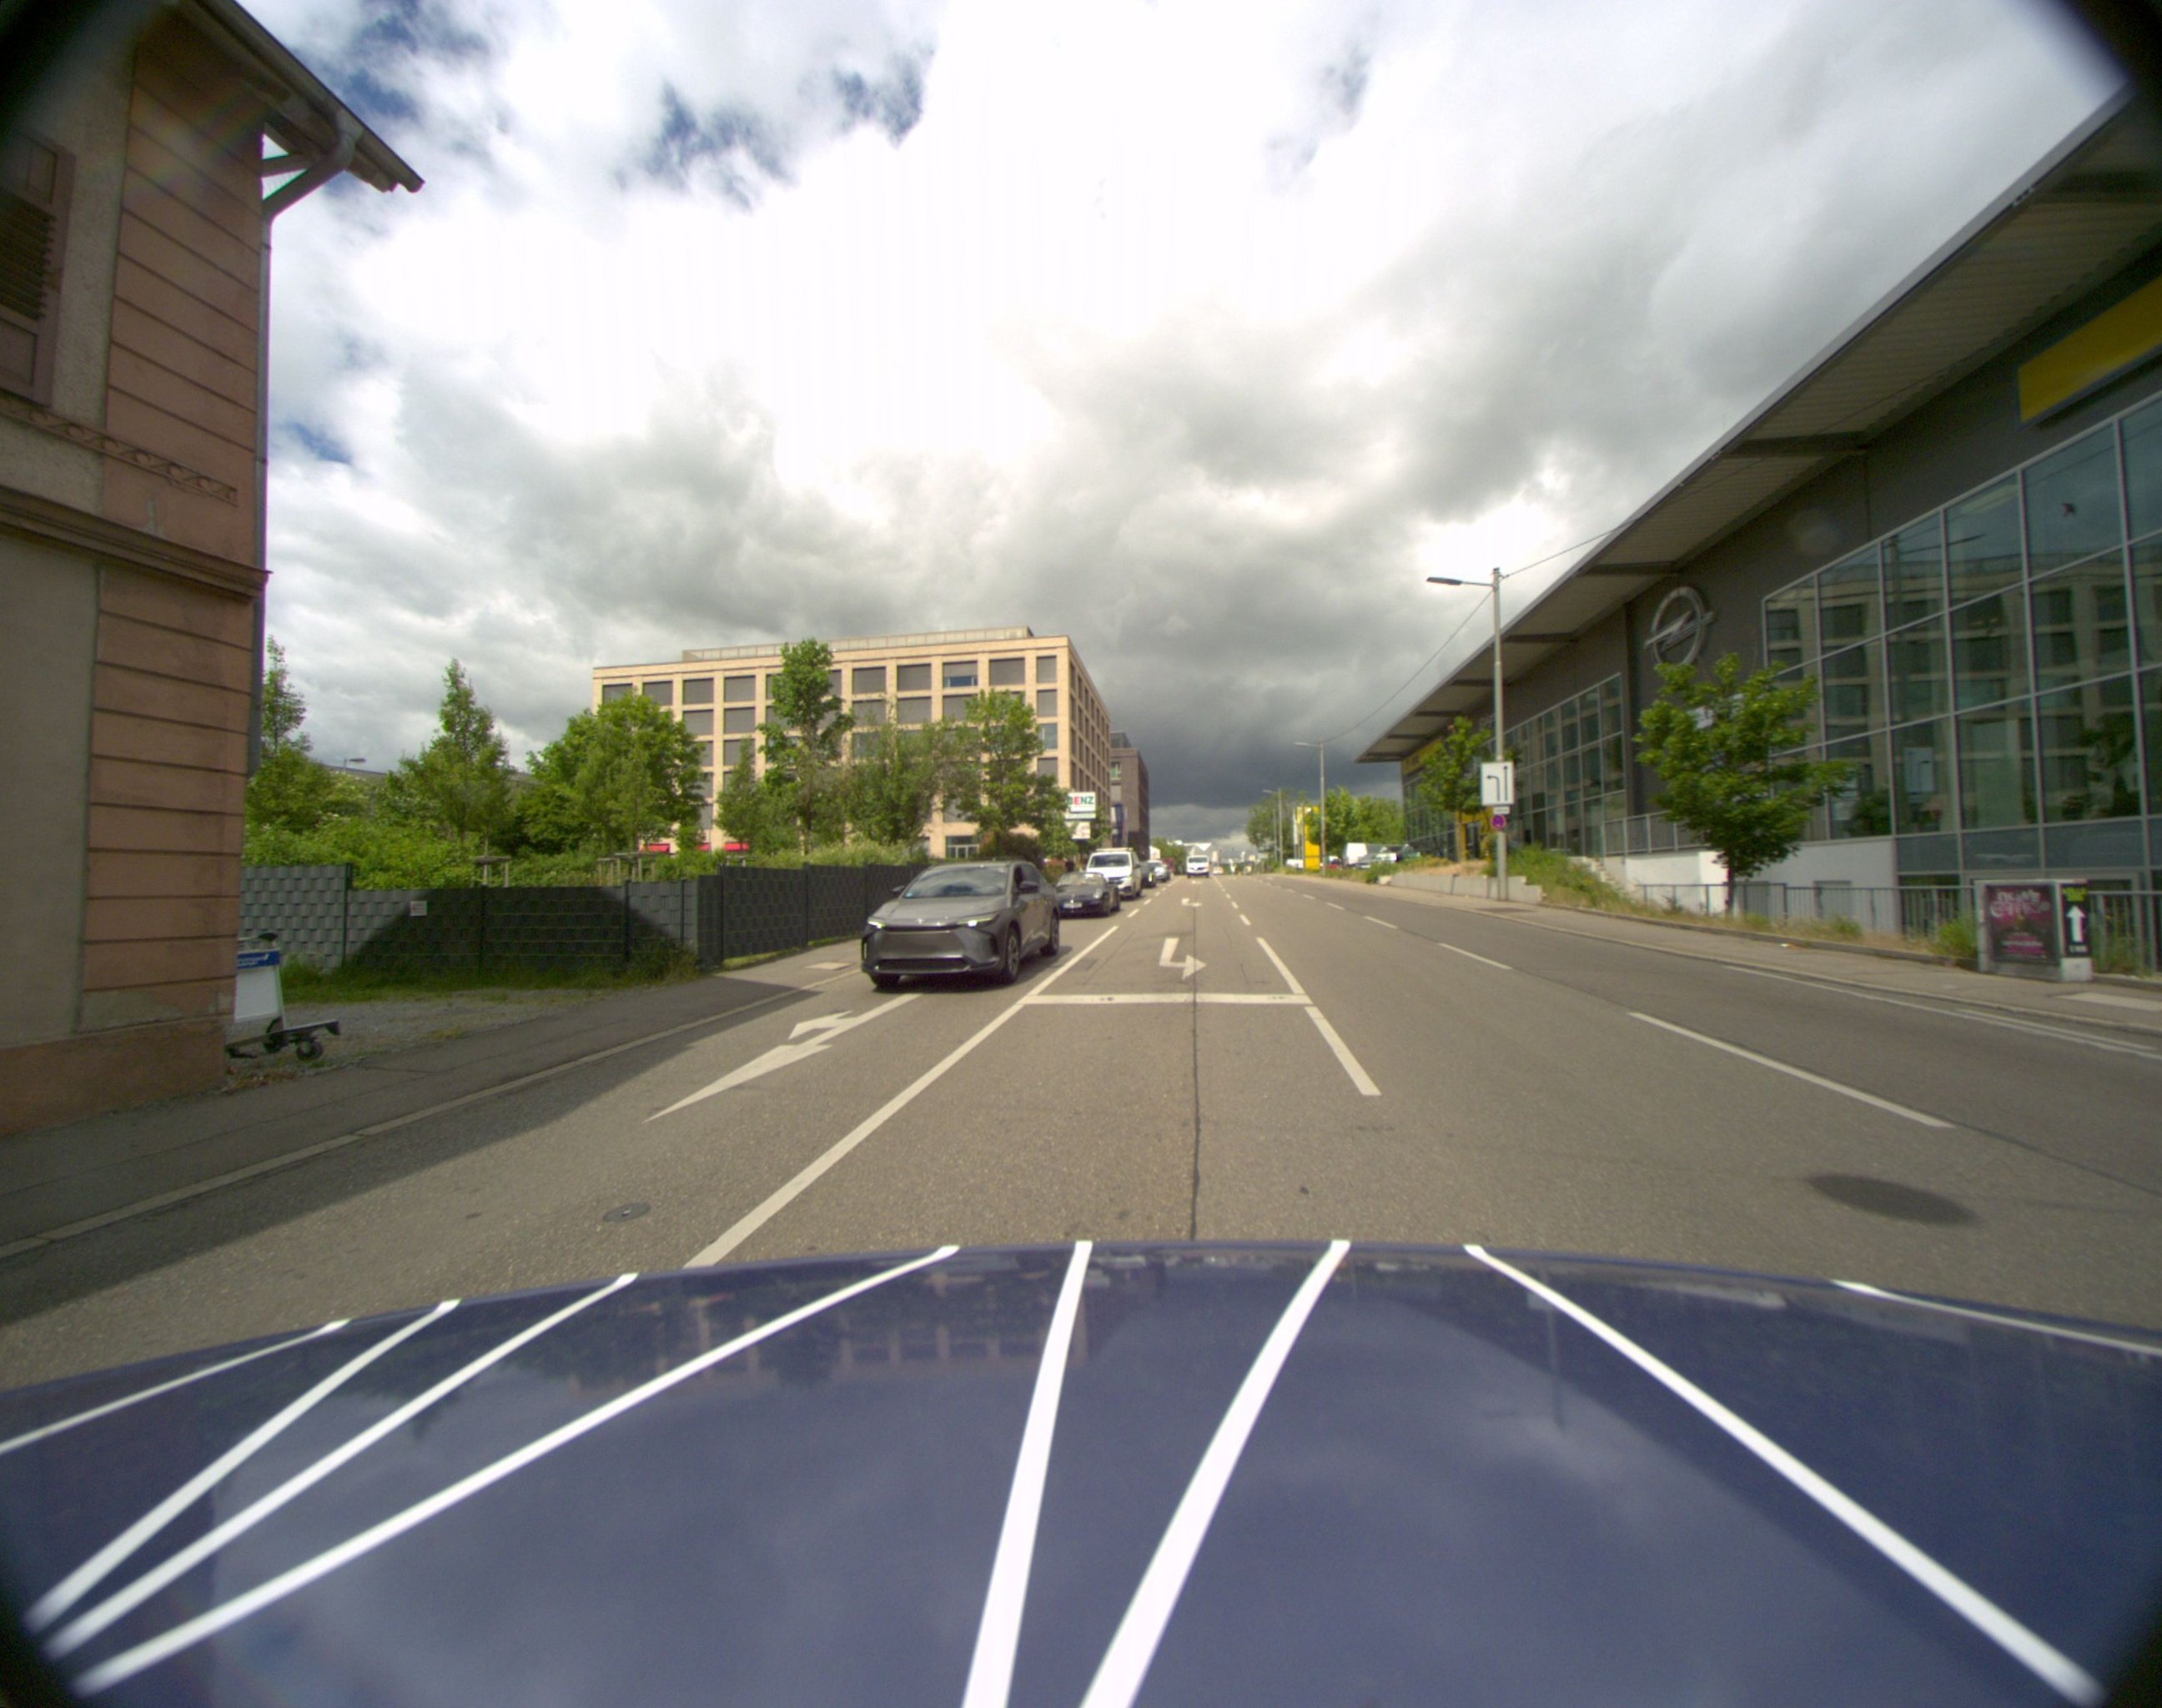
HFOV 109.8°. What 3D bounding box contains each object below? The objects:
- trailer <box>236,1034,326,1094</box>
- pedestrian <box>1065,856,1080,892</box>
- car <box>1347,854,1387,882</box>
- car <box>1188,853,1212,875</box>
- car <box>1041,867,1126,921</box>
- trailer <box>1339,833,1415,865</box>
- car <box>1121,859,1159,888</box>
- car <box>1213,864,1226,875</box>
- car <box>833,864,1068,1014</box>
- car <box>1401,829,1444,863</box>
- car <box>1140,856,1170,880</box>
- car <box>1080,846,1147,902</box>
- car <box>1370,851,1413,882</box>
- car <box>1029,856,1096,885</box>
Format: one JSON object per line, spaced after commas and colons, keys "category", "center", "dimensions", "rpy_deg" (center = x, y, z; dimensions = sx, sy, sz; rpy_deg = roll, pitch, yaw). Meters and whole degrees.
{"category": "trailer", "center": [-6.410, 1.676, 6.098], "dimensions": [0.357, 0.318, 0.476], "rpy_deg": [-1, 1, 44]}
{"category": "pedestrian", "center": [-0.421, 0.947, 36.836], "dimensions": [0.602, 1.710, 0.554], "rpy_deg": [-1, 1, 9]}
{"category": "car", "center": [19.438, 0.896, 51.614], "dimensions": [1.995, 1.783, 4.007], "rpy_deg": [-1, 0, 29]}
{"category": "car", "center": [10.405, 0.818, 66.347], "dimensions": [1.997, 1.819, 4.550], "rpy_deg": [-1, 0, 10]}
{"category": "car", "center": [0.173, 1.101, 22.050], "dimensions": [1.823, 1.286, 4.041], "rpy_deg": [-2, 0, 9]}
{"category": "trailer", "center": [22.771, -0.390, 58.619], "dimensions": [5.071, 2.335, 2.001], "rpy_deg": [-1, 0, 7]}
{"category": "car", "center": [3.326, 1.058, 42.299], "dimensions": [1.817, 1.454, 4.003], "rpy_deg": [-1, 0, 9]}
{"category": "car", "center": [23.728, 2.602, 129.895], "dimensions": [1.997, 1.731, 4.550], "rpy_deg": [-1, 0, 9]}
{"category": "car", "center": [-1.563, 1.014, 11.007], "dimensions": [1.997, 1.619, 4.583], "rpy_deg": [-1, 0, 8]}
{"category": "car", "center": [18.551, -0.413, 41.165], "dimensions": [1.995, 1.718, 4.007], "rpy_deg": [0, 0, 26]}
{"category": "car", "center": [5.204, 0.968, 53.195], "dimensions": [1.817, 1.577, 4.003], "rpy_deg": [-1, 0, 9]}
{"category": "car", "center": [1.406, 0.742, 30.656], "dimensions": [2.087, 2.037, 4.763], "rpy_deg": [-2, 0, 9]}
{"category": "car", "center": [18.942, 0.747, 46.252], "dimensions": [1.995, 1.783, 4.007], "rpy_deg": [0, 0, 29]}
{"category": "car", "center": [-1.120, 1.023, 47.272], "dimensions": [3.995, 1.723, 1.824], "rpy_deg": [-1, 0, 5]}
